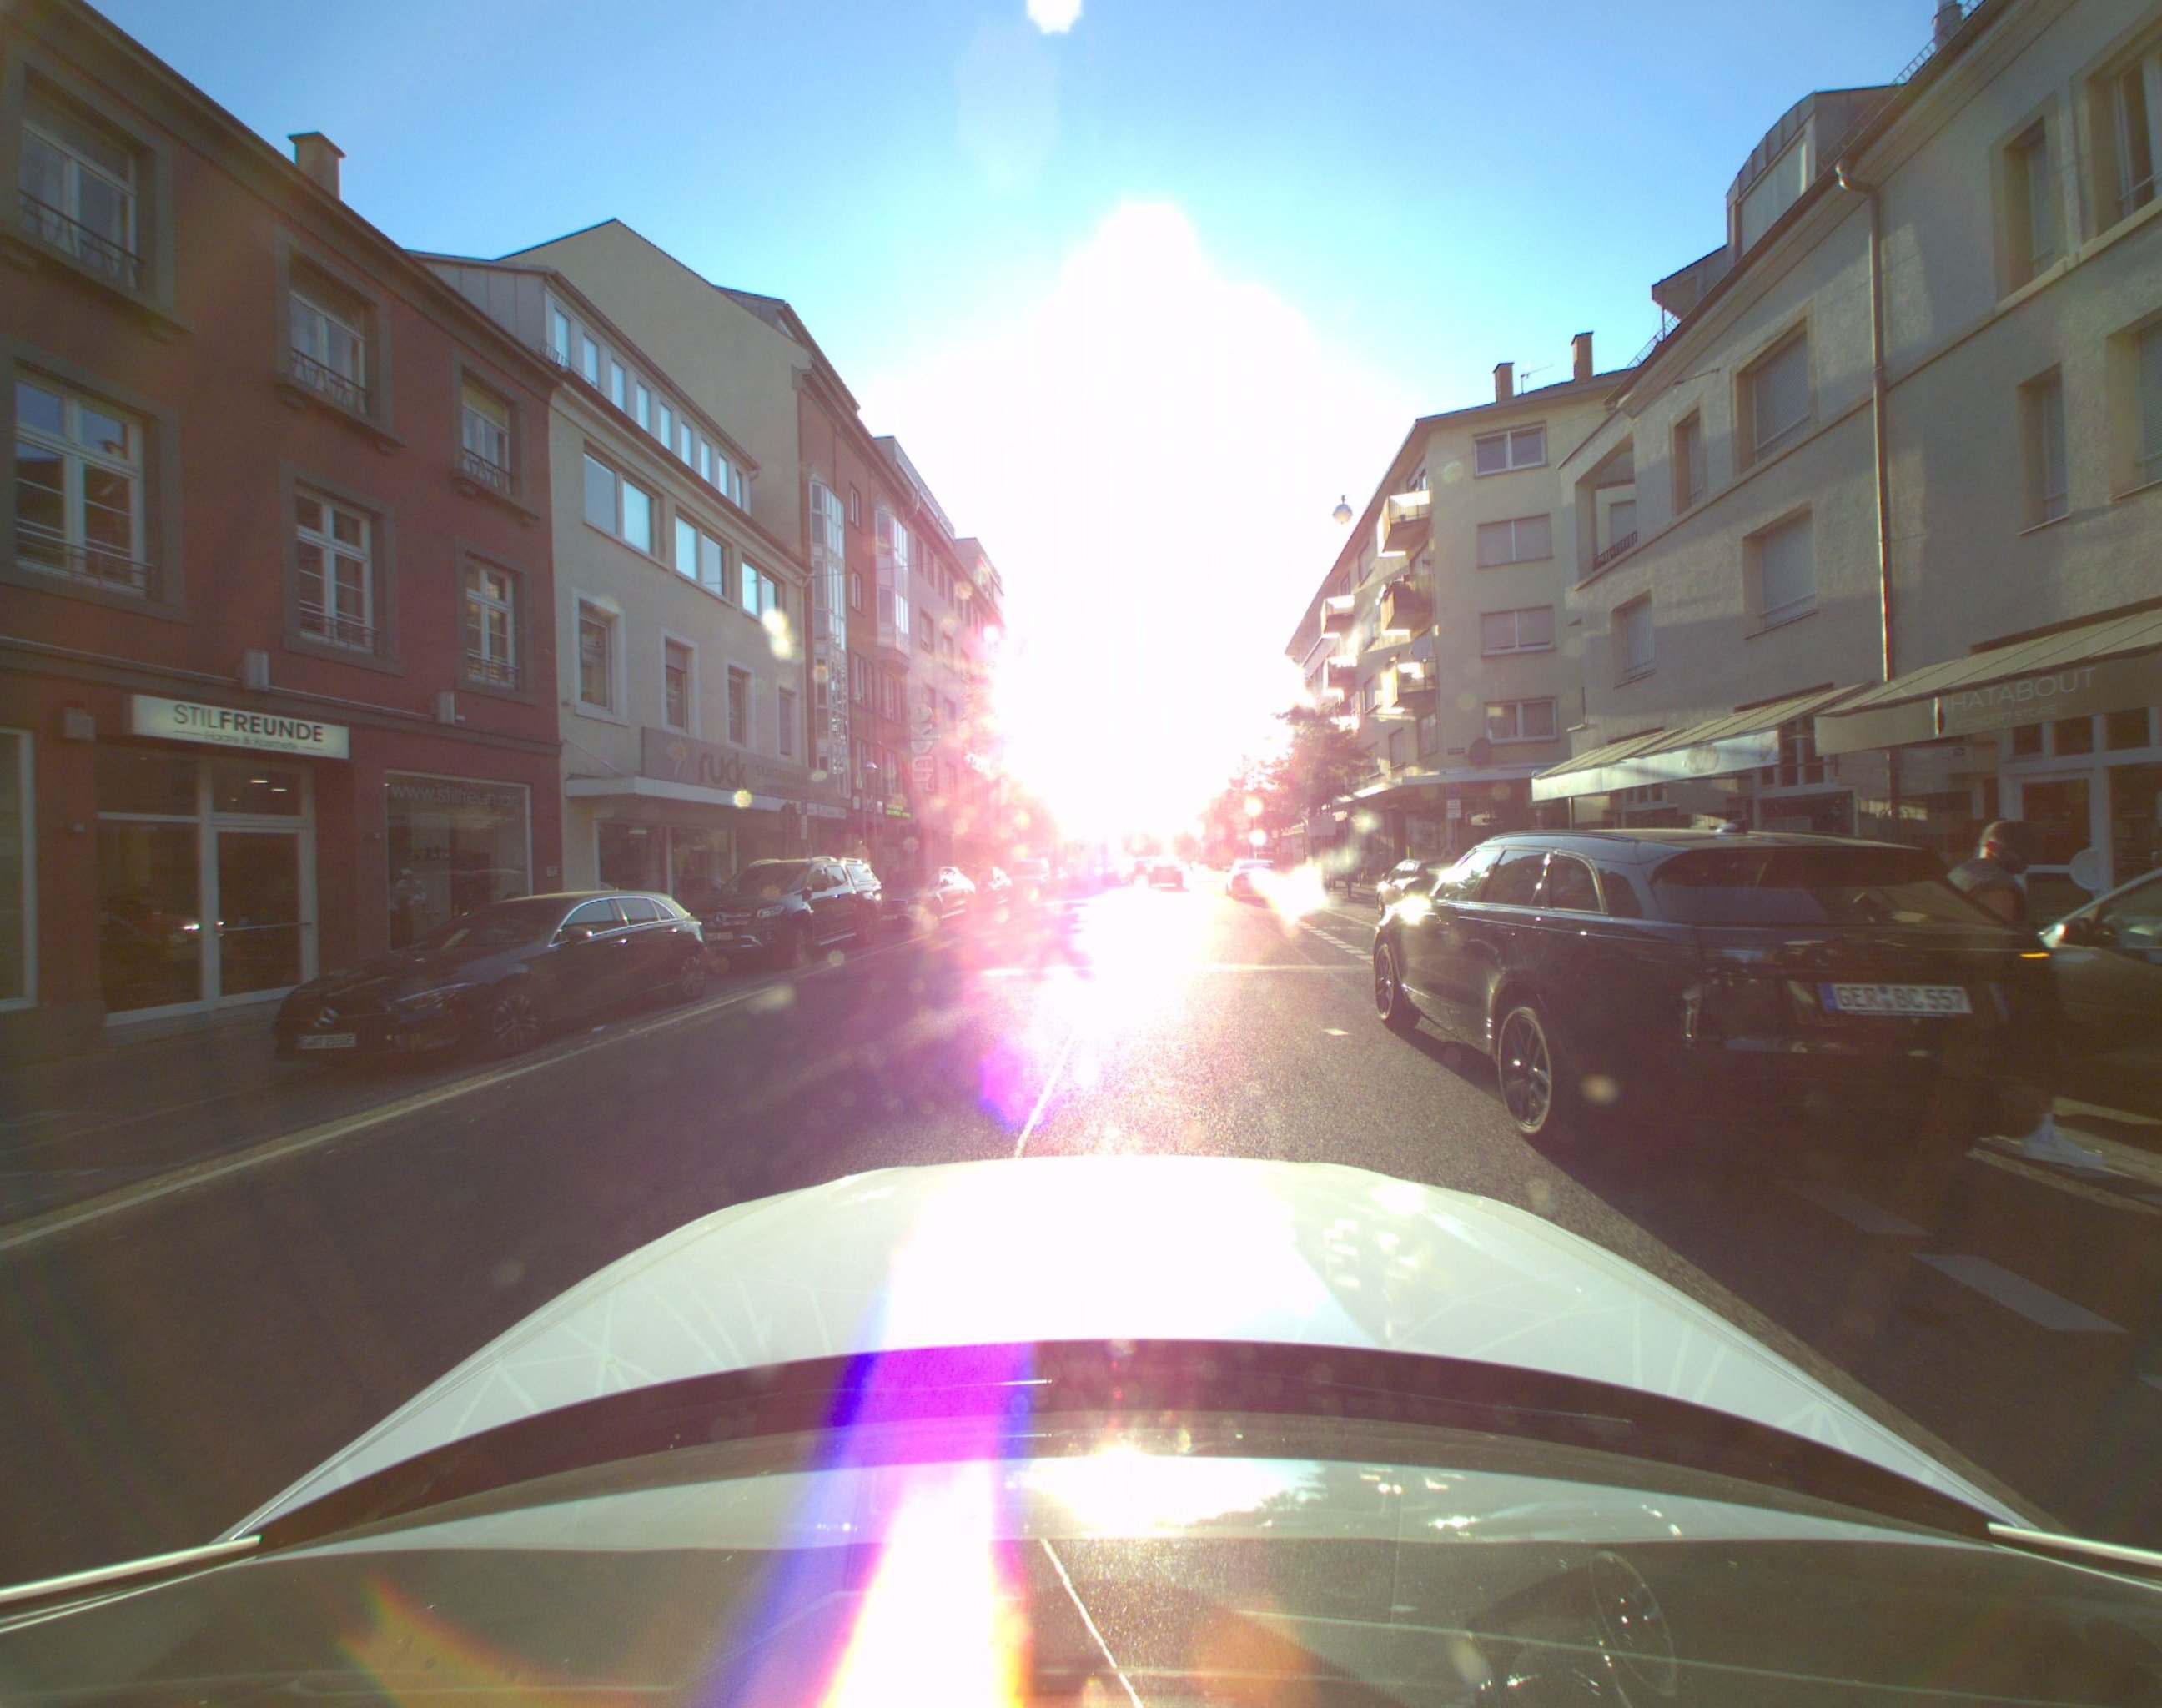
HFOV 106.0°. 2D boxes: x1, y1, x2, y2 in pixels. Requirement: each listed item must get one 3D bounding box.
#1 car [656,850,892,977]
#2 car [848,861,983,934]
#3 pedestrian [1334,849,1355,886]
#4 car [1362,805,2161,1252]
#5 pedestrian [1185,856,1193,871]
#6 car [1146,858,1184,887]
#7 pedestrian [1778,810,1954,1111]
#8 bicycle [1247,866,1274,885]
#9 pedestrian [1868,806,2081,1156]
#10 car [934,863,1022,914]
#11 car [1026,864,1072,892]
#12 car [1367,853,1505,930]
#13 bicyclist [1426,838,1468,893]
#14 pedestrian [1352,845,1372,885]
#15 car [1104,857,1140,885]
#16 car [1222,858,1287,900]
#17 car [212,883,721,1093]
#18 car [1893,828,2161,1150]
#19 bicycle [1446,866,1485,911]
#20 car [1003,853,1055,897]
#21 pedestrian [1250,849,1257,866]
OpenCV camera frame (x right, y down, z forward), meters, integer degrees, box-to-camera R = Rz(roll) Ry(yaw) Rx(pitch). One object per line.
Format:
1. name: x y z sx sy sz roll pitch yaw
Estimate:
1. car: -5.233 0.901 14.877 1.819 1.810 5.355 -3 0 5
2. car: -4.185 1.045 21.561 1.817 1.556 5.146 -4 0 7
3. pedestrian: 11.630 0.594 35.965 0.684 1.559 0.864 -2 -1 6
4. car: 3.422 0.648 5.434 1.984 1.655 4.683 0 0 7
5. pedestrian: 11.369 0.998 85.734 0.575 1.644 0.525 -2 0 -15
6. car: 4.448 0.925 42.755 1.873 1.415 4.333 -1 0 7
7. pedestrian: 4.683 0.594 4.880 0.443 1.665 0.562 -2 -1 -18
8. bicycle: 10.987 1.296 49.866 1.530 1.145 0.382 0 1 7
9. pedestrian: 4.623 0.606 4.238 0.443 1.665 0.562 -2 -1 -18
10. car: -3.353 1.109 27.522 1.818 1.439 4.562 -4 -1 7
11. car: -1.647 1.237 42.977 1.824 1.328 4.130 -2 0 5
12. car: 7.657 0.746 17.968 1.694 1.436 3.939 -3 -1 7
13. bicyclist: 11.545 0.363 25.684 1.081 1.702 0.657 -2 -1 32
14. pedestrian: 12.329 0.471 35.775 0.683 1.721 0.719 -3 -1 12
15. car: 2.636 1.027 51.550 1.912 1.602 4.334 -2 1 7
16. car: 6.279 0.857 29.927 1.912 1.415 4.557 0 0 7
17. car: -5.842 1.148 8.590 1.704 1.440 4.317 -3 0 7
18. car: 6.083 0.642 3.954 1.625 1.553 2.697 -3 0 4
19. bicycle: 9.595 0.845 20.386 0.303 1.039 1.720 -2 0 6
20. car: -2.319 0.930 37.065 1.825 1.854 4.127 -2 -1 3
21. pedestrian: 17.813 0.358 84.094 0.495 1.715 0.460 -2 0 -14
